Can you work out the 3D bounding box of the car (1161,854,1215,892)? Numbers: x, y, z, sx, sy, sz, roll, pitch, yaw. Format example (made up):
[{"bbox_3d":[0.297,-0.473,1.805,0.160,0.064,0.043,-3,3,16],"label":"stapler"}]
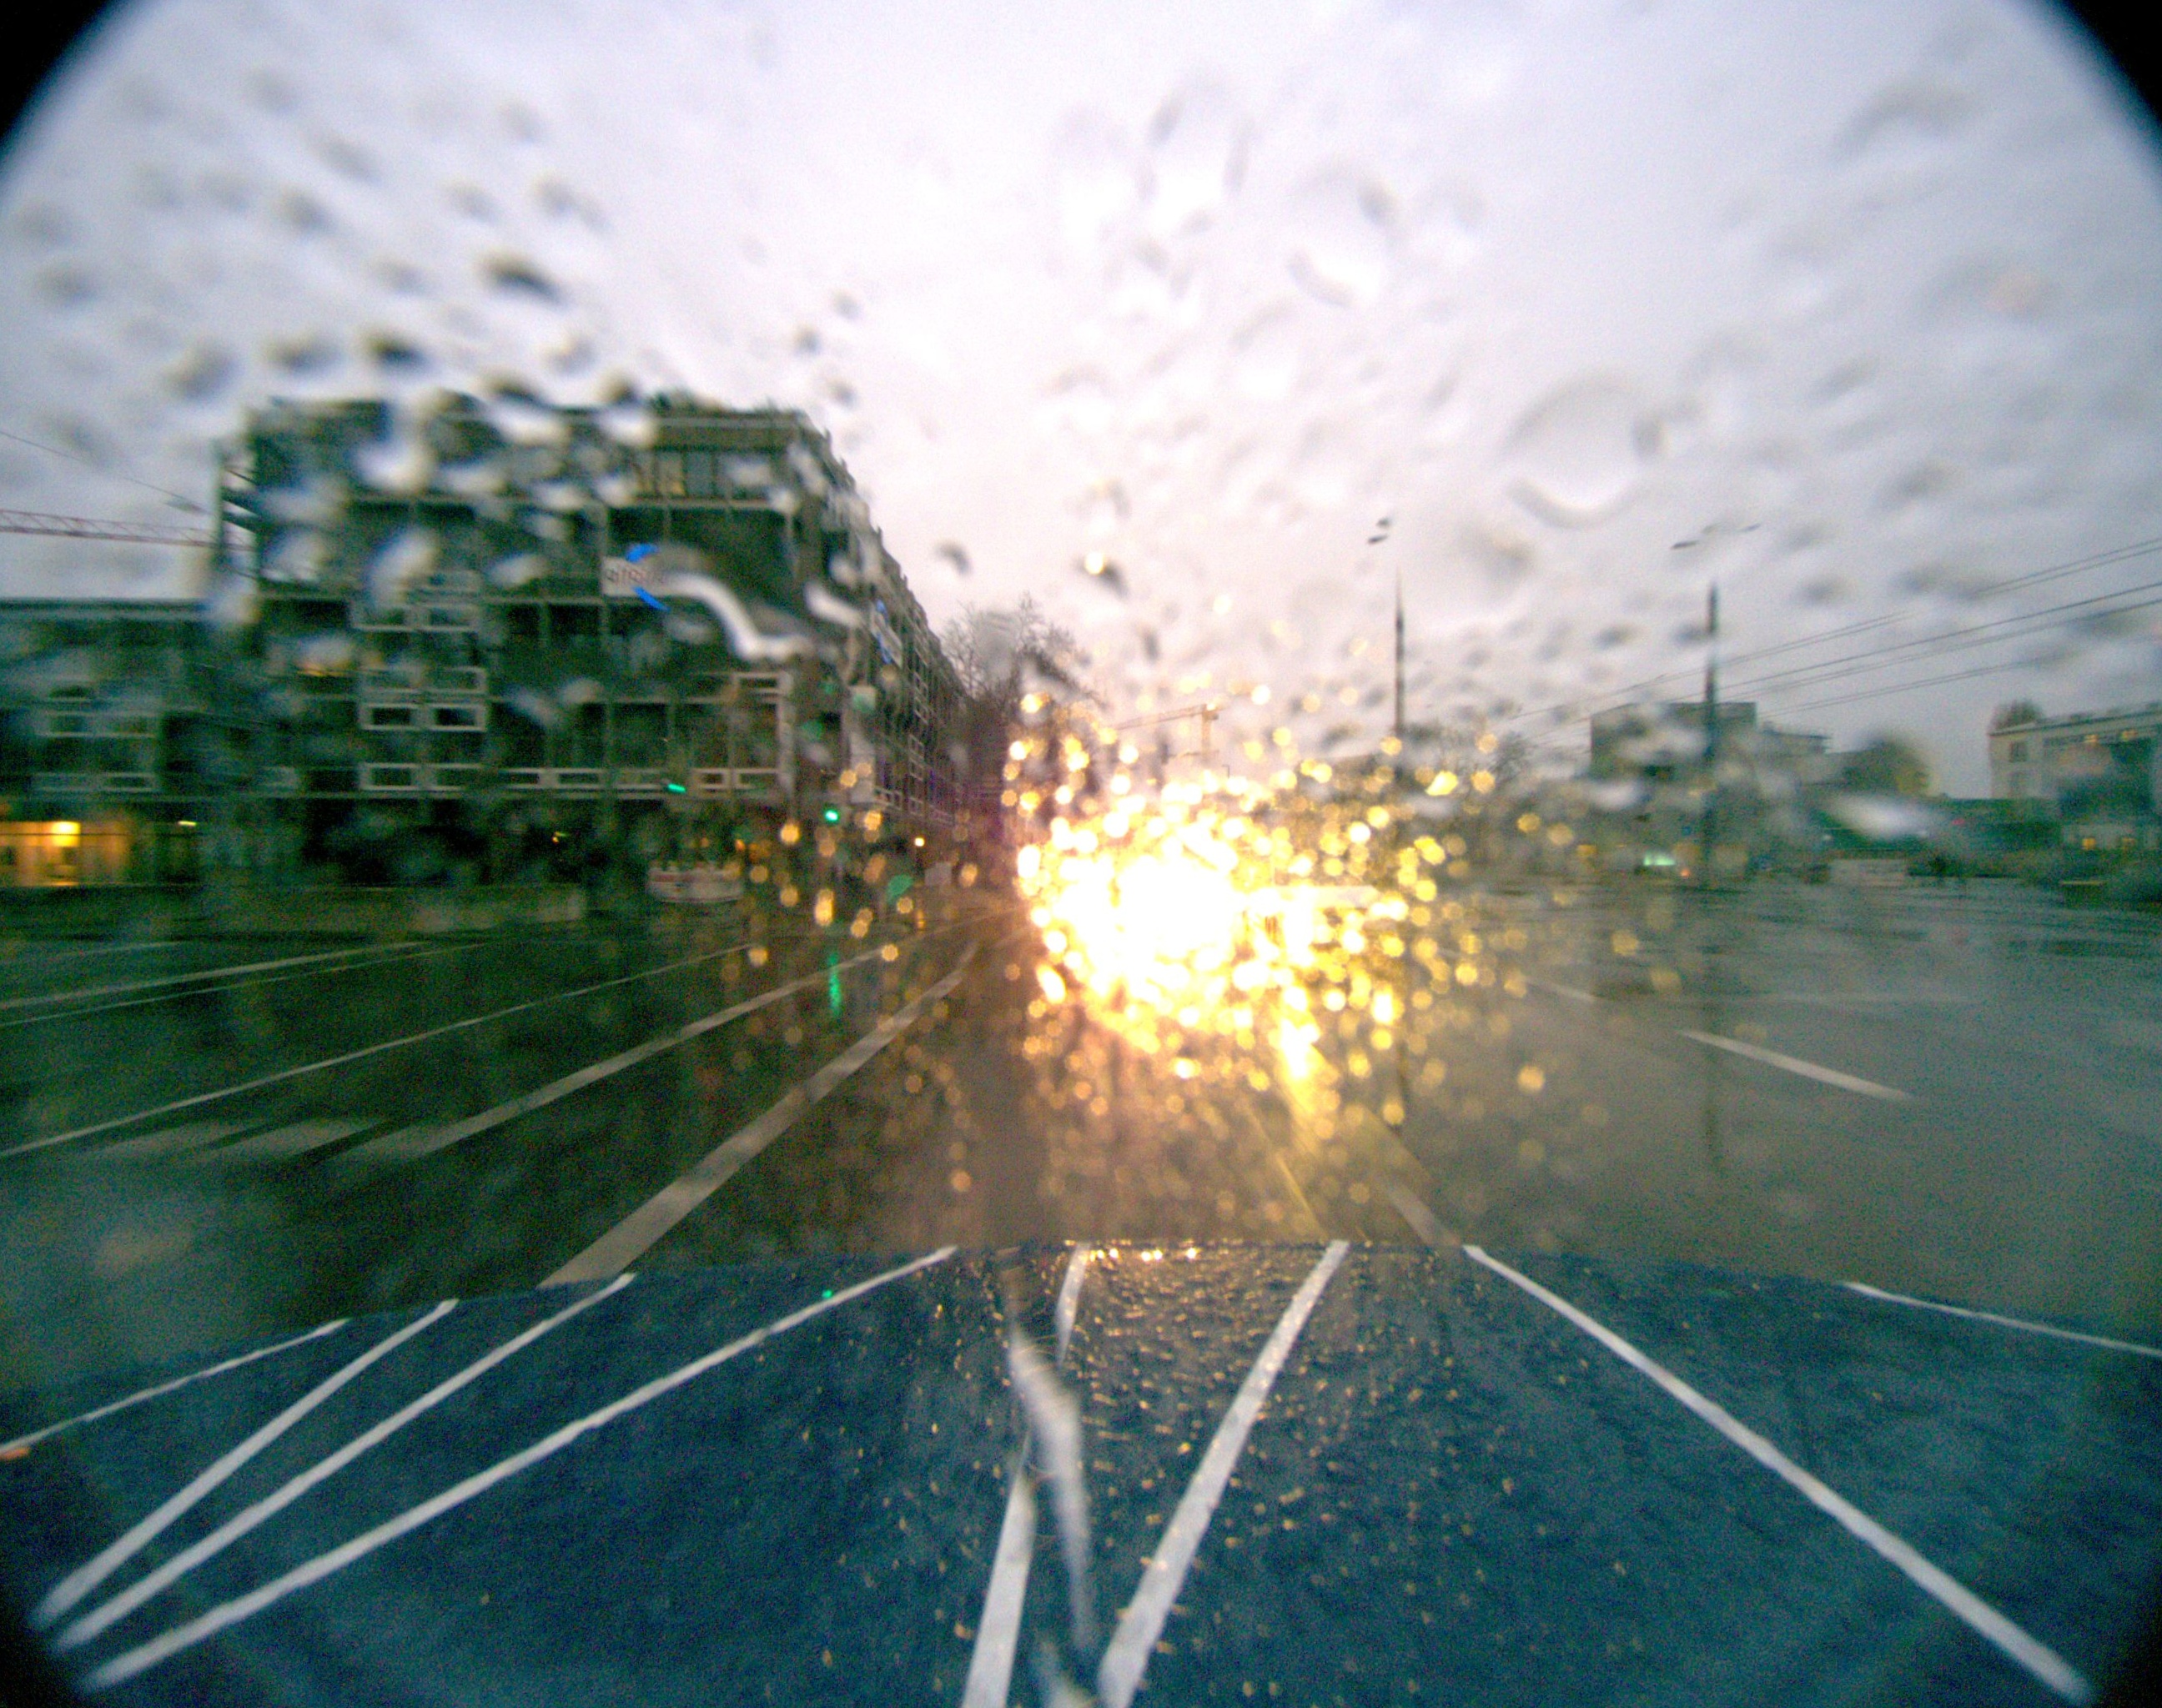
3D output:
[{"bbox_3d":[5.113,0.872,36.690,1.999,1.673,3.999,-1,0,0],"label":"car"}]

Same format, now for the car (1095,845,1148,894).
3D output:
[{"bbox_3d":[1.581,0.591,31.232,1.865,1.867,3.999,-1,0,-1],"label":"car"}]

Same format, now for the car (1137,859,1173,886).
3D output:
[{"bbox_3d":[4.922,1.187,51.011,1.868,1.652,3.986,-1,0,-2],"label":"car"}]

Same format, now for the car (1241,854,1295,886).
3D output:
[{"bbox_3d":[9.694,0.808,39.757,1.800,1.521,3.928,-2,0,0],"label":"car"}]

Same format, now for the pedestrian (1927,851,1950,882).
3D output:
[{"bbox_3d":[47.442,0.686,42.040,0.655,1.656,0.743,0,1,34],"label":"pedestrian"}]

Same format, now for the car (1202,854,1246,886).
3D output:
[{"bbox_3d":[9.004,0.968,48.109,1.952,1.870,4.000,-2,0,0],"label":"car"}]

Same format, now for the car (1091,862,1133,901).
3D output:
[{"bbox_3d":[1.683,1.506,42.518,1.999,2.002,3.999,-1,0,-2],"label":"car"}]

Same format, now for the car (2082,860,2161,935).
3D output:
[{"bbox_3d":[30.728,1.206,20.088,2.000,2.002,4.787,-1,0,-10],"label":"car"}]

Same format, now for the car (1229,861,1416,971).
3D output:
[{"bbox_3d":[3.699,0.866,12.449,1.814,1.464,4.139,-1,0,1],"label":"car"}]

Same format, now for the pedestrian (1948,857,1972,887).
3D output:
[{"bbox_3d":[47.951,0.968,41.454,0.655,1.652,0.743,0,1,34],"label":"pedestrian"}]
